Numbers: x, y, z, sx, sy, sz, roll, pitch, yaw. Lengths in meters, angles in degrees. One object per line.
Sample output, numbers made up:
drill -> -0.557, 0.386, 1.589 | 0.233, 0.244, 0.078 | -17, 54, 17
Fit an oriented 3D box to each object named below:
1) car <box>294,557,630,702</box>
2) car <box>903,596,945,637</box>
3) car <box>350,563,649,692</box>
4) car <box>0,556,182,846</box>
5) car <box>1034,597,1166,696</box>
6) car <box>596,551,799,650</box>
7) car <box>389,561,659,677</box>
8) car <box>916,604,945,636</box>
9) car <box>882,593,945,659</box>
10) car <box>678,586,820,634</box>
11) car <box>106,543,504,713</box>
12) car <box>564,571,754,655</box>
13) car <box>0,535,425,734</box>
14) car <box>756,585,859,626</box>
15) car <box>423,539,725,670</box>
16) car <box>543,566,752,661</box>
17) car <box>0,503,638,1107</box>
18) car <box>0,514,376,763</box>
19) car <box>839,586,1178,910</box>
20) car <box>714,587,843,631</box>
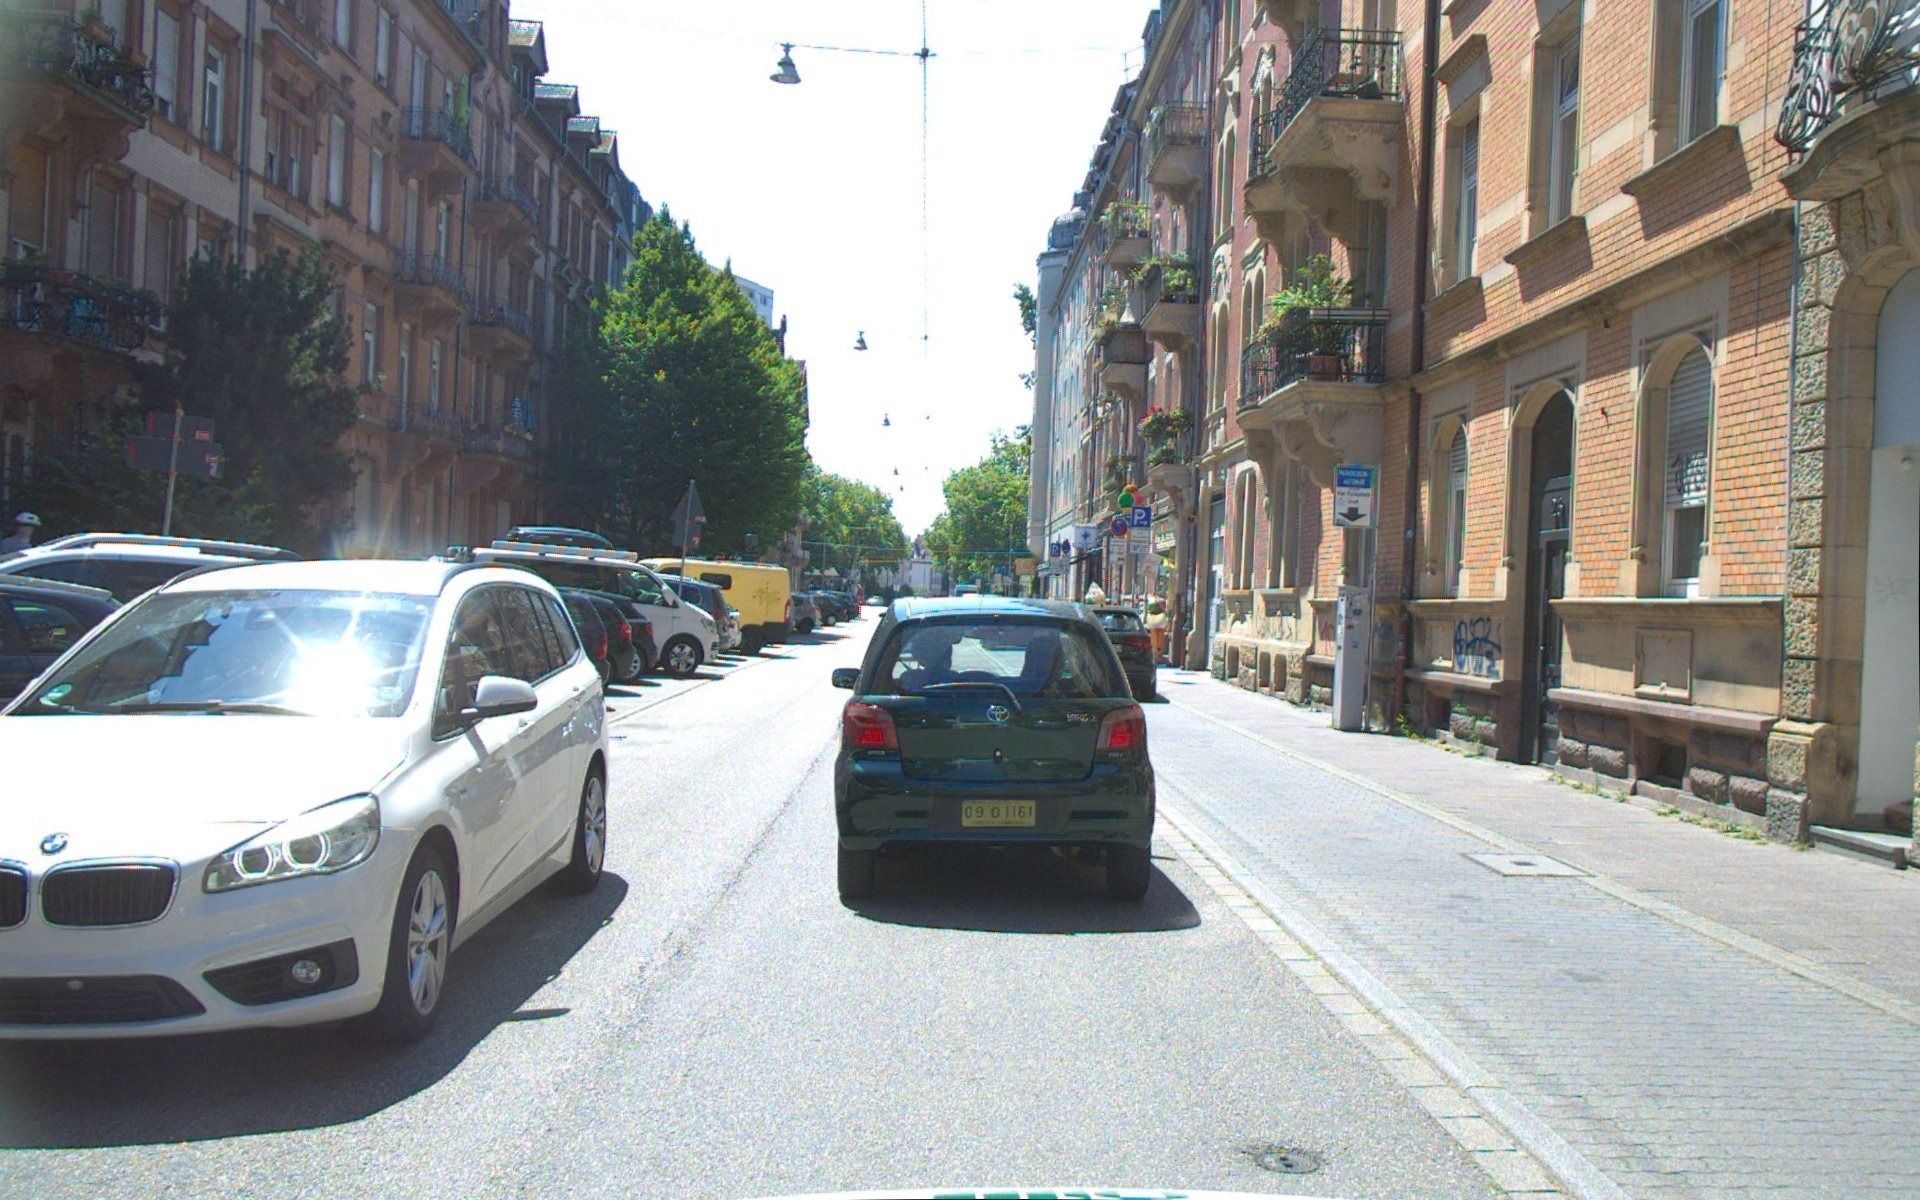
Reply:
car -> -6.374, 0.383, 21.178 | 3.860, 1.647, 1.851 | 3, 0, -25
car -> -1.452, 0.661, 68.418 | 1.491, 1.620, 3.264 | 2, 0, 2
car -> -6.622, 0.396, 23.803 | 3.860, 1.647, 1.851 | 3, 0, -25
car -> -6.355, 0.455, 8.485 | 3.890, 1.495, 1.837 | 3, 0, -43
car -> 2.206, 0.708, 27.060 | 1.719, 1.454, 3.999 | 2, 0, -1
car -> -6.484, 0.026, 40.984 | 4.506, 2.225, 1.982 | 3, 0, -29
car -> -6.963, 0.301, 26.405 | 3.860, 1.647, 1.851 | 3, 0, -25
car -> -1.672, 1.110, 92.544 | 1.492, 1.620, 3.262 | 2, 0, -3
car -> -1.199, 0.630, 42.411 | 1.492, 1.547, 3.263 | 2, 0, -2
car -> -7.399, 0.350, 57.986 | 4.506, 1.459, 1.982 | 3, 0, -29
car -> -7.213, 0.320, 18.355 | 3.860, 1.647, 1.851 | 3, 0, -25
car -> -6.729, 0.297, 36.978 | 3.812, 1.668, 1.772 | 3, 0, -25
car -> -7.133, 0.322, 15.412 | 3.860, 1.647, 1.851 | 3, 0, -25
car -> -7.437, 0.255, 80.545 | 4.555, 1.756, 1.982 | 3, 0, -29
car -> -6.741, 0.097, 29.002 | 4.723, 2.029, 2.033 | 3, 0, -30
car -> -6.444, 0.279, 34.105 | 3.860, 1.738, 1.851 | 3, 0, -25
car -> -2.585, 0.574, 6.796 | 1.719, 1.674, 4.376 | 0, 0, -1
car -> -6.539, 0.247, 12.015 | 3.889, 1.647, 1.838 | 3, 0, -42
car -> 0.164, 0.691, 9.443 | 1.581, 1.511, 3.239 | 1, 0, -3
car -> -6.970, 0.349, 63.619 | 4.506, 1.453, 1.982 | 3, 0, -29
